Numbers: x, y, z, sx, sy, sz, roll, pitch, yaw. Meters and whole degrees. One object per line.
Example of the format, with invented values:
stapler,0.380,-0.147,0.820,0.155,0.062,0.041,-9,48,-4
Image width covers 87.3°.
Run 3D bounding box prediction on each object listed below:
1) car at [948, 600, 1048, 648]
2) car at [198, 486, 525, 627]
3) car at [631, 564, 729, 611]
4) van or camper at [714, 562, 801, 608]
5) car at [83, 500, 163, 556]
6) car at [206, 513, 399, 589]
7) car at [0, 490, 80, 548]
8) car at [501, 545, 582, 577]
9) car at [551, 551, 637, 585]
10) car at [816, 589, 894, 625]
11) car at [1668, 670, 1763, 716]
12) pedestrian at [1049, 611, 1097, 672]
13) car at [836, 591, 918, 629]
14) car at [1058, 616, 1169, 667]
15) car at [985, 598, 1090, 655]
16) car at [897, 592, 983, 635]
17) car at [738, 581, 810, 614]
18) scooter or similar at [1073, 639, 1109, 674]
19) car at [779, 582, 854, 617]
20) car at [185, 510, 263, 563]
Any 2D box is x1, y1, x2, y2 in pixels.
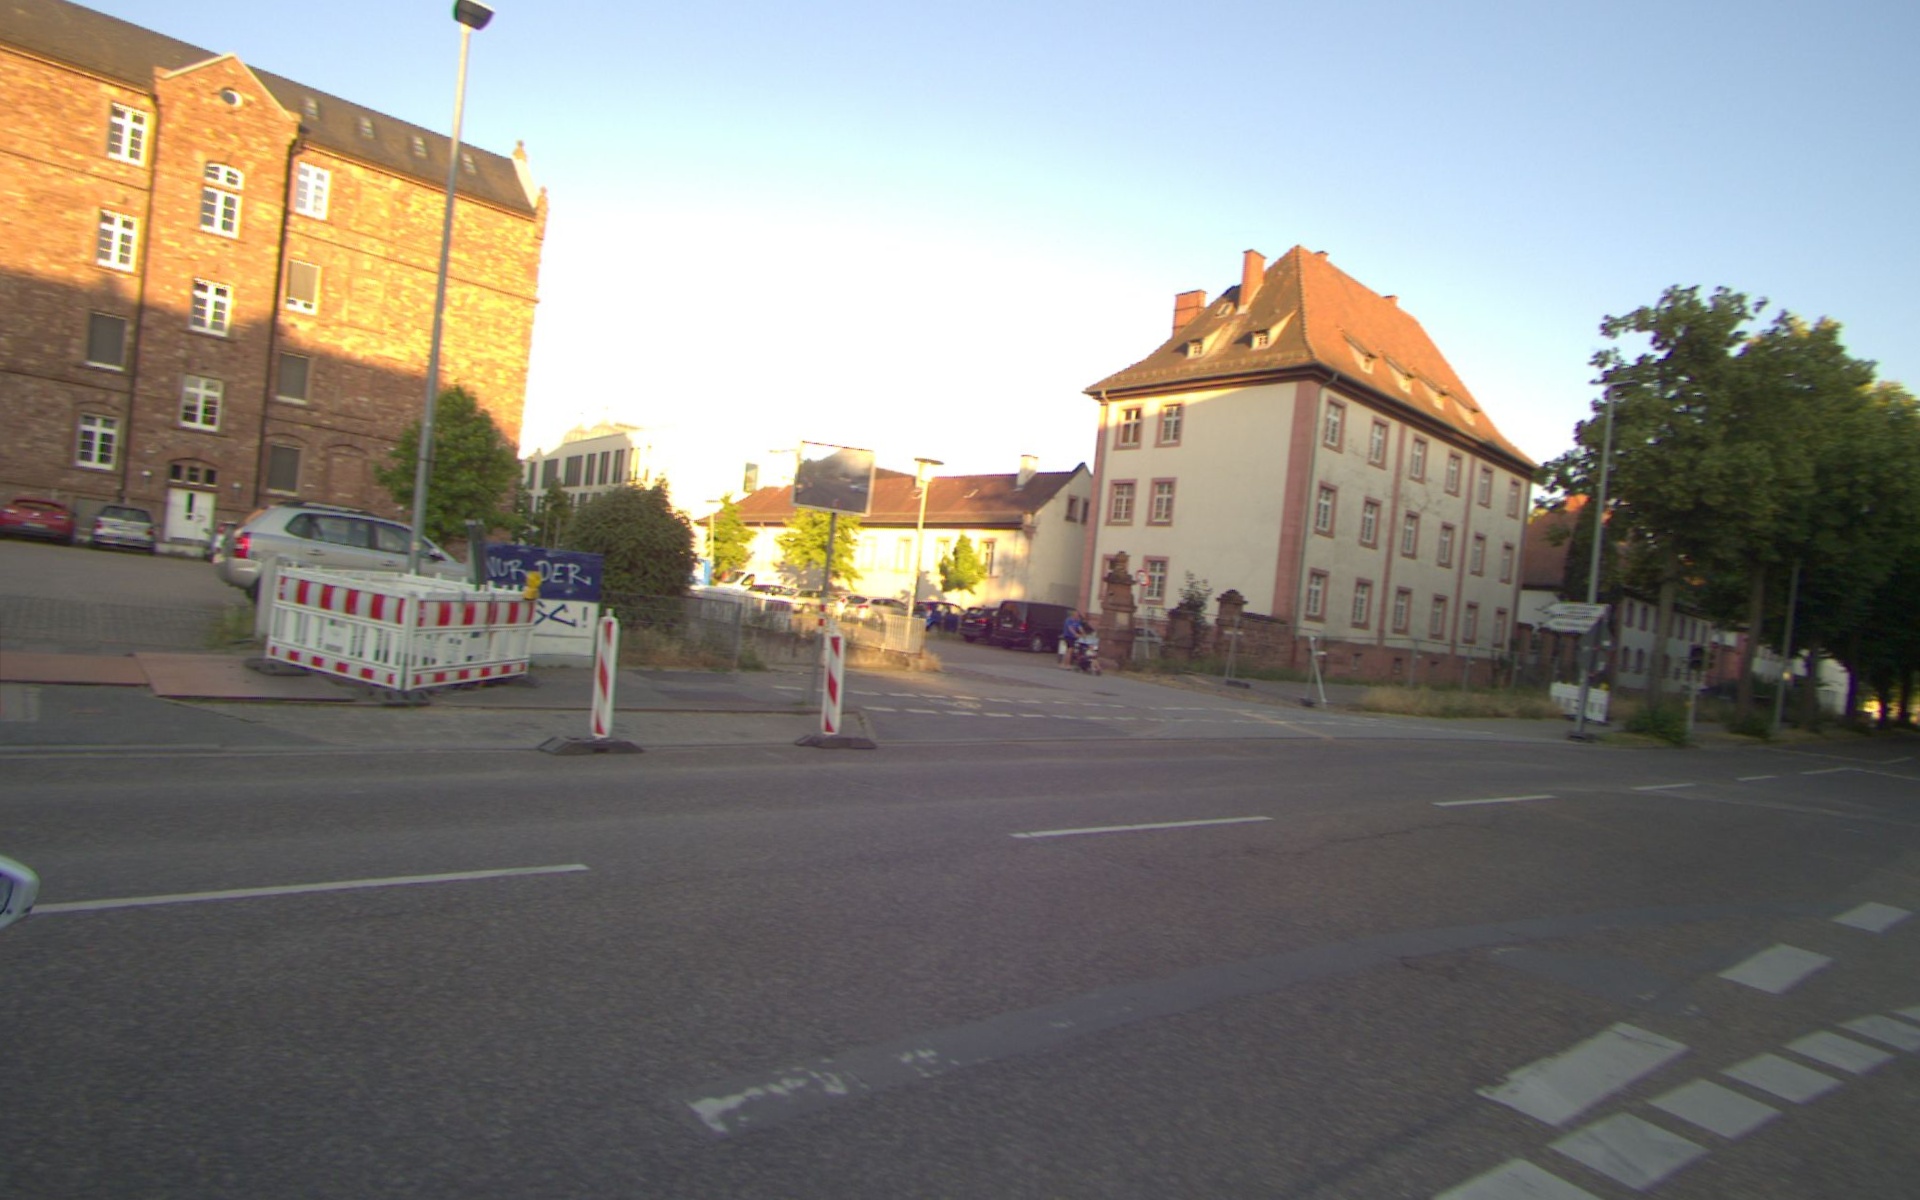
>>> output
car,1.673,1.044,43.187,3.974,1.592,1.975,7,-1,-44
car,-9.606,-0.633,16.359,4.252,1.730,1.683,6,0,-42
car,-12.366,-0.529,44.479,3.728,1.623,1.666,6,0,-44
van or camper,-12.258,-0.873,61.095,4.947,2.268,1.666,7,0,-44
car,-28.226,-2.452,33.981,1.888,1.557,4.133,6,0,-40
car,-17.416,-1.283,26.734,4.105,1.501,1.625,6,0,-39
car,-29.859,-2.616,32.514,1.888,1.557,4.133,6,0,-40
car,-24.776,-2.302,59.618,3.972,1.329,1.856,8,-1,-42
car,-20.209,-1.771,55.616,3.972,1.329,2.040,8,-1,-42
car,-5.440,0.387,52.591,3.729,1.463,1.666,7,-1,-44
car,43.372,5.328,57.787,1.988,2.039,3.949,6,0,-45
pedestrian,3.316,1.211,29.494,0.746,1.663,1.003,5,0,-39
car,-4.088,0.515,49.985,3.729,1.463,1.666,7,-1,-44
car,5.713,1.553,37.243,3.974,1.477,1.975,7,-1,-44
car,3.171,1.076,40.634,3.974,1.881,1.975,7,0,-44
car,-0.879,0.638,46.447,3.729,1.547,1.666,7,-1,-44
car,-10.814,-0.134,58.520,3.729,1.463,1.666,7,-1,-44
scooter or similar,3.736,1.601,28.672,0.511,0.901,0.797,6,0,-40
car,-7.774,-0.024,54.687,3.729,1.463,1.666,7,-1,-44
car,-26.145,-2.265,35.676,1.888,1.557,4.133,6,0,-40
